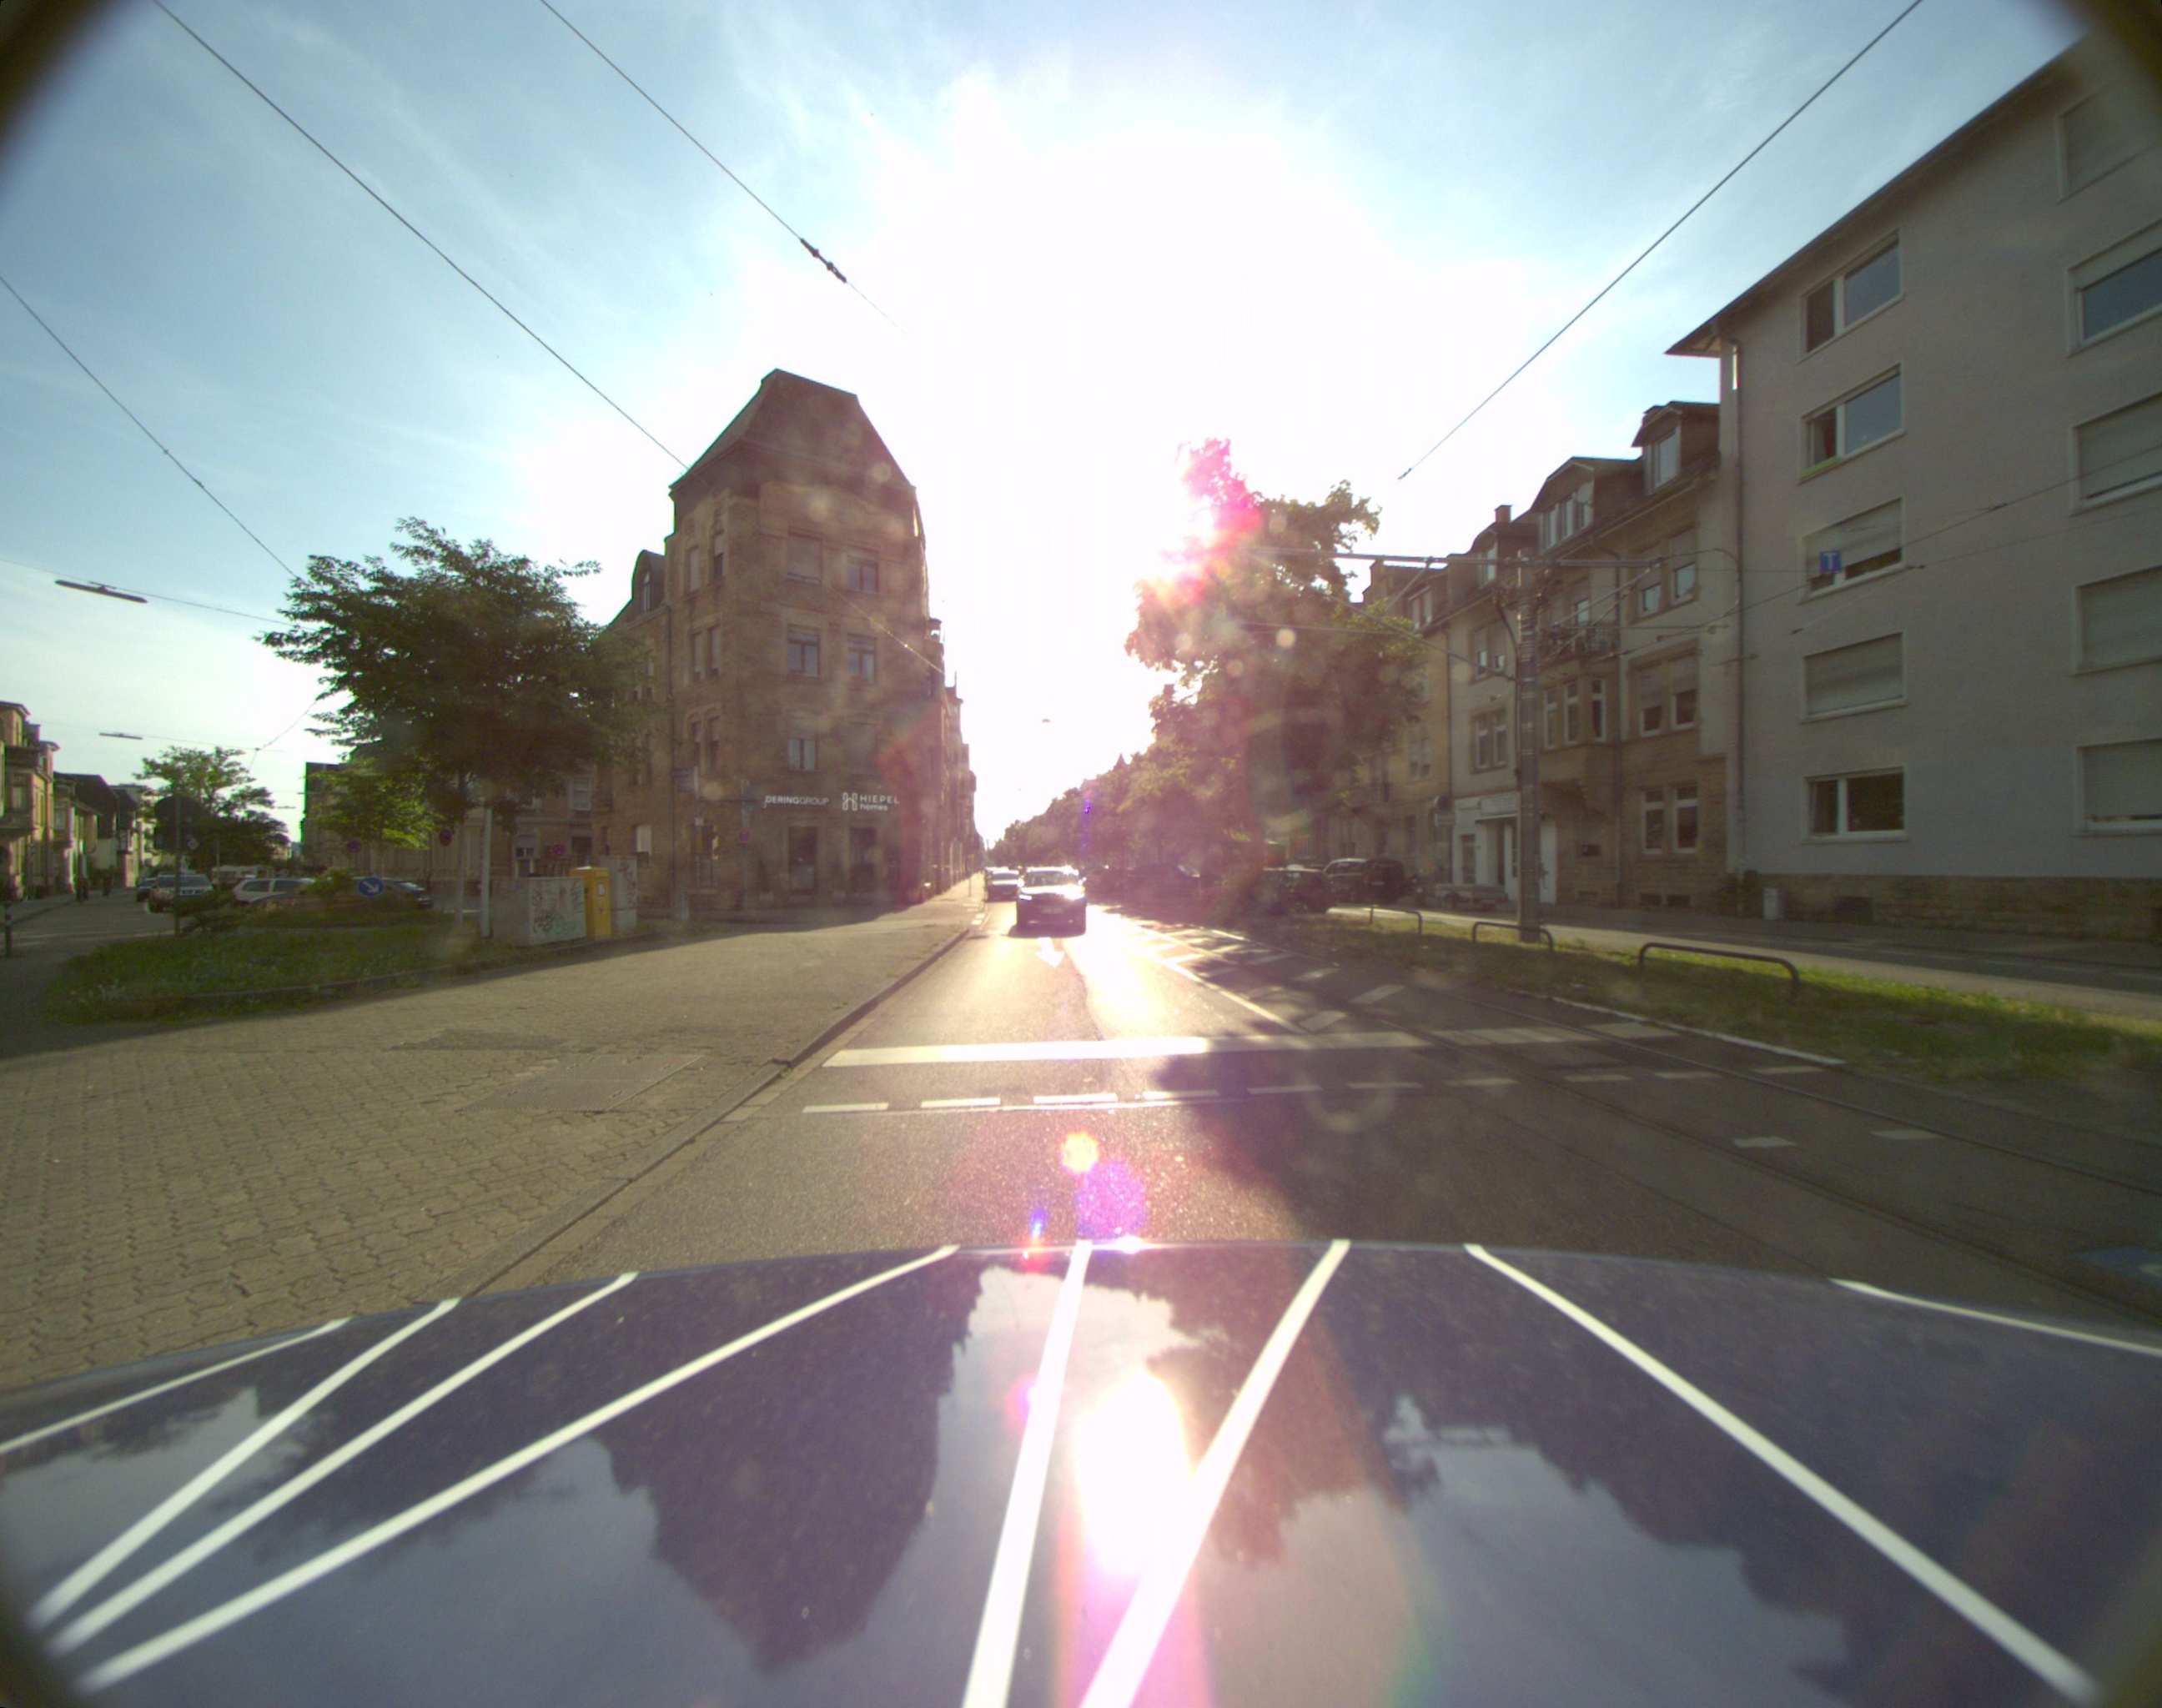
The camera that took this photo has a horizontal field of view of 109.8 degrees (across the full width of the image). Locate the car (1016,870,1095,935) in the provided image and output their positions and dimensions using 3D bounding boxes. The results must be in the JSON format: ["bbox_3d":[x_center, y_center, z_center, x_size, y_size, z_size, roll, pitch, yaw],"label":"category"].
[{"bbox_3d":[-0.767,1.181,19.838,1.841,1.472,3.999,-1,-1,-5],"label":"car"}]

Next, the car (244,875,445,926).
[{"bbox_3d":[-24.881,1.523,25.871,4.455,1.505,1.998,-1,-1,-16],"label":"car"}]

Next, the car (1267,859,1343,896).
[{"bbox_3d":[11.307,1.158,38.781,2.171,1.739,4.609,-2,-1,-5],"label":"car"}]

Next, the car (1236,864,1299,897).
[{"bbox_3d":[10.695,1.474,43.946,2.171,1.739,4.609,-2,-1,-5],"label":"car"}]

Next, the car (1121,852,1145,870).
[{"bbox_3d":[5.946,0.800,87.577,1.999,2.001,3.998,-2,-1,-6],"label":"car"}]

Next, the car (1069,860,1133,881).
[{"bbox_3d":[1.489,1.244,57.136,4.260,1.413,2.176,-2,-1,35],"label":"car"}]

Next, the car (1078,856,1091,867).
[{"bbox_3d":[0.616,1.414,139.733,1.999,2.001,3.999,-2,-1,-3],"label":"car"}]

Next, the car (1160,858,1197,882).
[{"bbox_3d":[8.298,1.370,65.031,2.171,1.889,4.609,-2,-1,-5],"label":"car"}]

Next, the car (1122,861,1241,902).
[{"bbox_3d":[4.393,1.188,33.571,4.705,1.680,2.177,-1,-1,35],"label":"car"}]

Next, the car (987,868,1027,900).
[{"bbox_3d":[-3.850,1.474,38.954,1.841,1.494,4.264,-2,-1,-8],"label":"car"}]

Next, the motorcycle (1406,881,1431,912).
[{"bbox_3d":[12.517,1.559,28.231,0.636,1.073,1.736,-2,-1,18],"label":"motorcycle"}]

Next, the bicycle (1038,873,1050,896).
[{"bbox_3d":[-1.917,1.560,39.135,0.484,1.183,1.338,-2,-1,-7],"label":"bicycle"}]

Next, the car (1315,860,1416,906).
[{"bbox_3d":[11.820,1.159,31.964,2.171,1.739,4.716,-2,-1,-5],"label":"car"}]

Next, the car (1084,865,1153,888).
[{"bbox_3d":[2.453,1.473,50.176,4.260,1.413,1.685,-2,-1,35],"label":"car"}]

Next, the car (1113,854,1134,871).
[{"bbox_3d":[5.516,1.112,98.468,2.000,2.001,3.998,-2,-1,-6],"label":"car"}]

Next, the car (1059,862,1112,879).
[{"bbox_3d":[0.373,1.482,67.649,4.260,1.413,2.177,-1,-1,35],"label":"car"}]

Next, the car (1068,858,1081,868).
[{"bbox_3d":[-1.292,1.874,152.639,2.000,2.001,3.998,-2,-1,-7],"label":"car"}]

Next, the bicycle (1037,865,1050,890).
[{"bbox_3d":[-1.923,1.204,39.123,0.575,1.290,0.688,-2,0,-7],"label":"bicycle"}]

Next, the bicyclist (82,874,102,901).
[{"bbox_3d":[-57.594,1.941,44.258,0.894,1.532,0.656,-1,0,40],"label":"bicyclist"}]

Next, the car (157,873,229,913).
[{"bbox_3d":[-40.321,1.744,34.533,3.989,1.641,2.004,-2,-1,41],"label":"car"}]

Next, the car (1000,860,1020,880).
[{"bbox_3d":[-7.483,1.651,80.115,2.000,2.002,3.998,-1,0,-7],"label":"car"}]

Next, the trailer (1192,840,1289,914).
[{"bbox_3d":[5.417,0.783,25.730,2.859,2.377,1.726,-2,-1,25],"label":"trailer"}]

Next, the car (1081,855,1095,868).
[{"bbox_3d":[1.214,1.295,128.841,1.999,2.001,3.999,-2,-1,-3],"label":"car"}]

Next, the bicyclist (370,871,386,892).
[{"bbox_3d":[-49.139,1.929,53.106,0.652,1.447,0.746,-2,0,41],"label":"bicyclist"}]

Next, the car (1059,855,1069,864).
[{"bbox_3d":[-3.914,1.370,174.212,2.000,2.001,3.998,-2,-1,-7],"label":"car"}]

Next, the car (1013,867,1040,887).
[{"bbox_3d":[-4.699,1.956,64.715,2.000,1.564,3.998,-2,-1,-8],"label":"car"}]

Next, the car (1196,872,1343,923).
[{"bbox_3d":[5.555,1.229,22.444,3.943,1.352,1.676,-1,-1,27],"label":"car"}]

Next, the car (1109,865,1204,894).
[{"bbox_3d":[3.936,1.321,39.674,4.599,1.373,1.705,-2,-1,28],"label":"car"}]

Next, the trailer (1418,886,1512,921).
[{"bbox_3d":[13.014,1.649,25.899,1.445,0.891,2.878,-6,0,-6],"label":"trailer"}]

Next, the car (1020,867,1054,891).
[{"bbox_3d":[-3.111,1.746,53.164,2.000,1.564,3.998,-2,-1,-8],"label":"car"}]

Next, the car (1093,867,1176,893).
[{"bbox_3d":[3.039,1.490,43.505,4.295,1.413,1.963,-2,-1,35],"label":"car"}]

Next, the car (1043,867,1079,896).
[{"bbox_3d":[-1.190,1.569,44.507,1.999,1.564,4.000,-2,-1,-2],"label":"car"}]

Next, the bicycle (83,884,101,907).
[{"bbox_3d":[-57.478,2.397,44.157,1.565,1.250,0.573,-1,0,40],"label":"bicycle"}]

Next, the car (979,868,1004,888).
[{"bbox_3d":[-7.071,1.850,60.421,1.841,1.472,3.999,-2,-1,-5],"label":"car"}]

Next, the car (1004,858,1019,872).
[{"bbox_3d":[-9.976,1.578,108.476,2.000,2.002,3.998,-1,0,-7],"label":"car"}]

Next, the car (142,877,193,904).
[{"bbox_3d":[-58.798,2.336,48.945,3.989,1.641,2.004,-2,-1,41],"label":"car"}]

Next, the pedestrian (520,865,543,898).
[{"bbox_3d":[-27.919,1.400,38.625,0.781,1.665,0.765,-2,-1,42],"label":"pedestrian"}]
